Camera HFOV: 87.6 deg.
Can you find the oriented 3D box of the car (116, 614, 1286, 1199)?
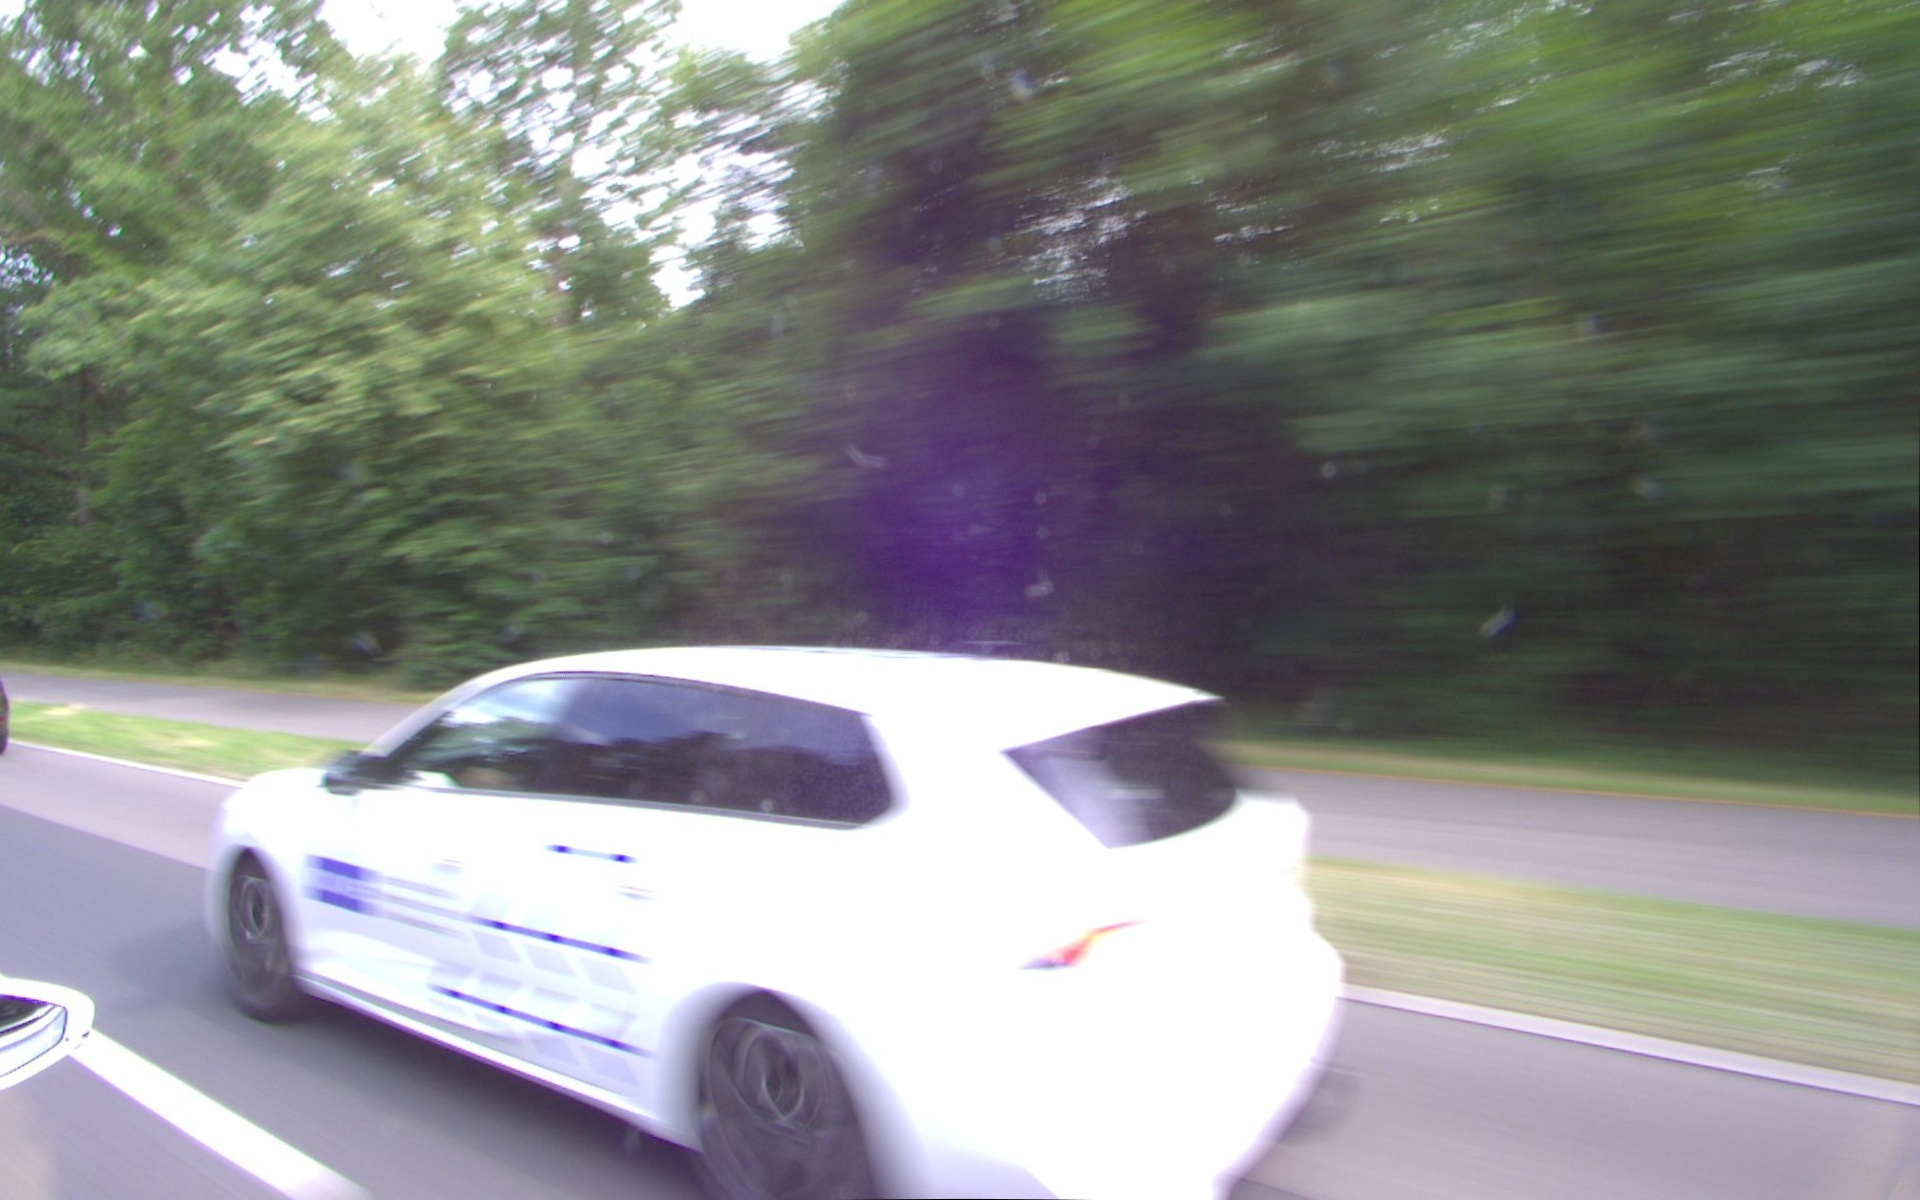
[{"bbox_3d":[-1.224,0.805,3.856,4.425,1.429,1.832,0,1,32],"label":"car"}]

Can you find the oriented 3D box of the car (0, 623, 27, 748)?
[{"bbox_3d":[-13.068,1.020,12.102,3.943,1.437,1.633,-2,-3,32],"label":"car"}]
